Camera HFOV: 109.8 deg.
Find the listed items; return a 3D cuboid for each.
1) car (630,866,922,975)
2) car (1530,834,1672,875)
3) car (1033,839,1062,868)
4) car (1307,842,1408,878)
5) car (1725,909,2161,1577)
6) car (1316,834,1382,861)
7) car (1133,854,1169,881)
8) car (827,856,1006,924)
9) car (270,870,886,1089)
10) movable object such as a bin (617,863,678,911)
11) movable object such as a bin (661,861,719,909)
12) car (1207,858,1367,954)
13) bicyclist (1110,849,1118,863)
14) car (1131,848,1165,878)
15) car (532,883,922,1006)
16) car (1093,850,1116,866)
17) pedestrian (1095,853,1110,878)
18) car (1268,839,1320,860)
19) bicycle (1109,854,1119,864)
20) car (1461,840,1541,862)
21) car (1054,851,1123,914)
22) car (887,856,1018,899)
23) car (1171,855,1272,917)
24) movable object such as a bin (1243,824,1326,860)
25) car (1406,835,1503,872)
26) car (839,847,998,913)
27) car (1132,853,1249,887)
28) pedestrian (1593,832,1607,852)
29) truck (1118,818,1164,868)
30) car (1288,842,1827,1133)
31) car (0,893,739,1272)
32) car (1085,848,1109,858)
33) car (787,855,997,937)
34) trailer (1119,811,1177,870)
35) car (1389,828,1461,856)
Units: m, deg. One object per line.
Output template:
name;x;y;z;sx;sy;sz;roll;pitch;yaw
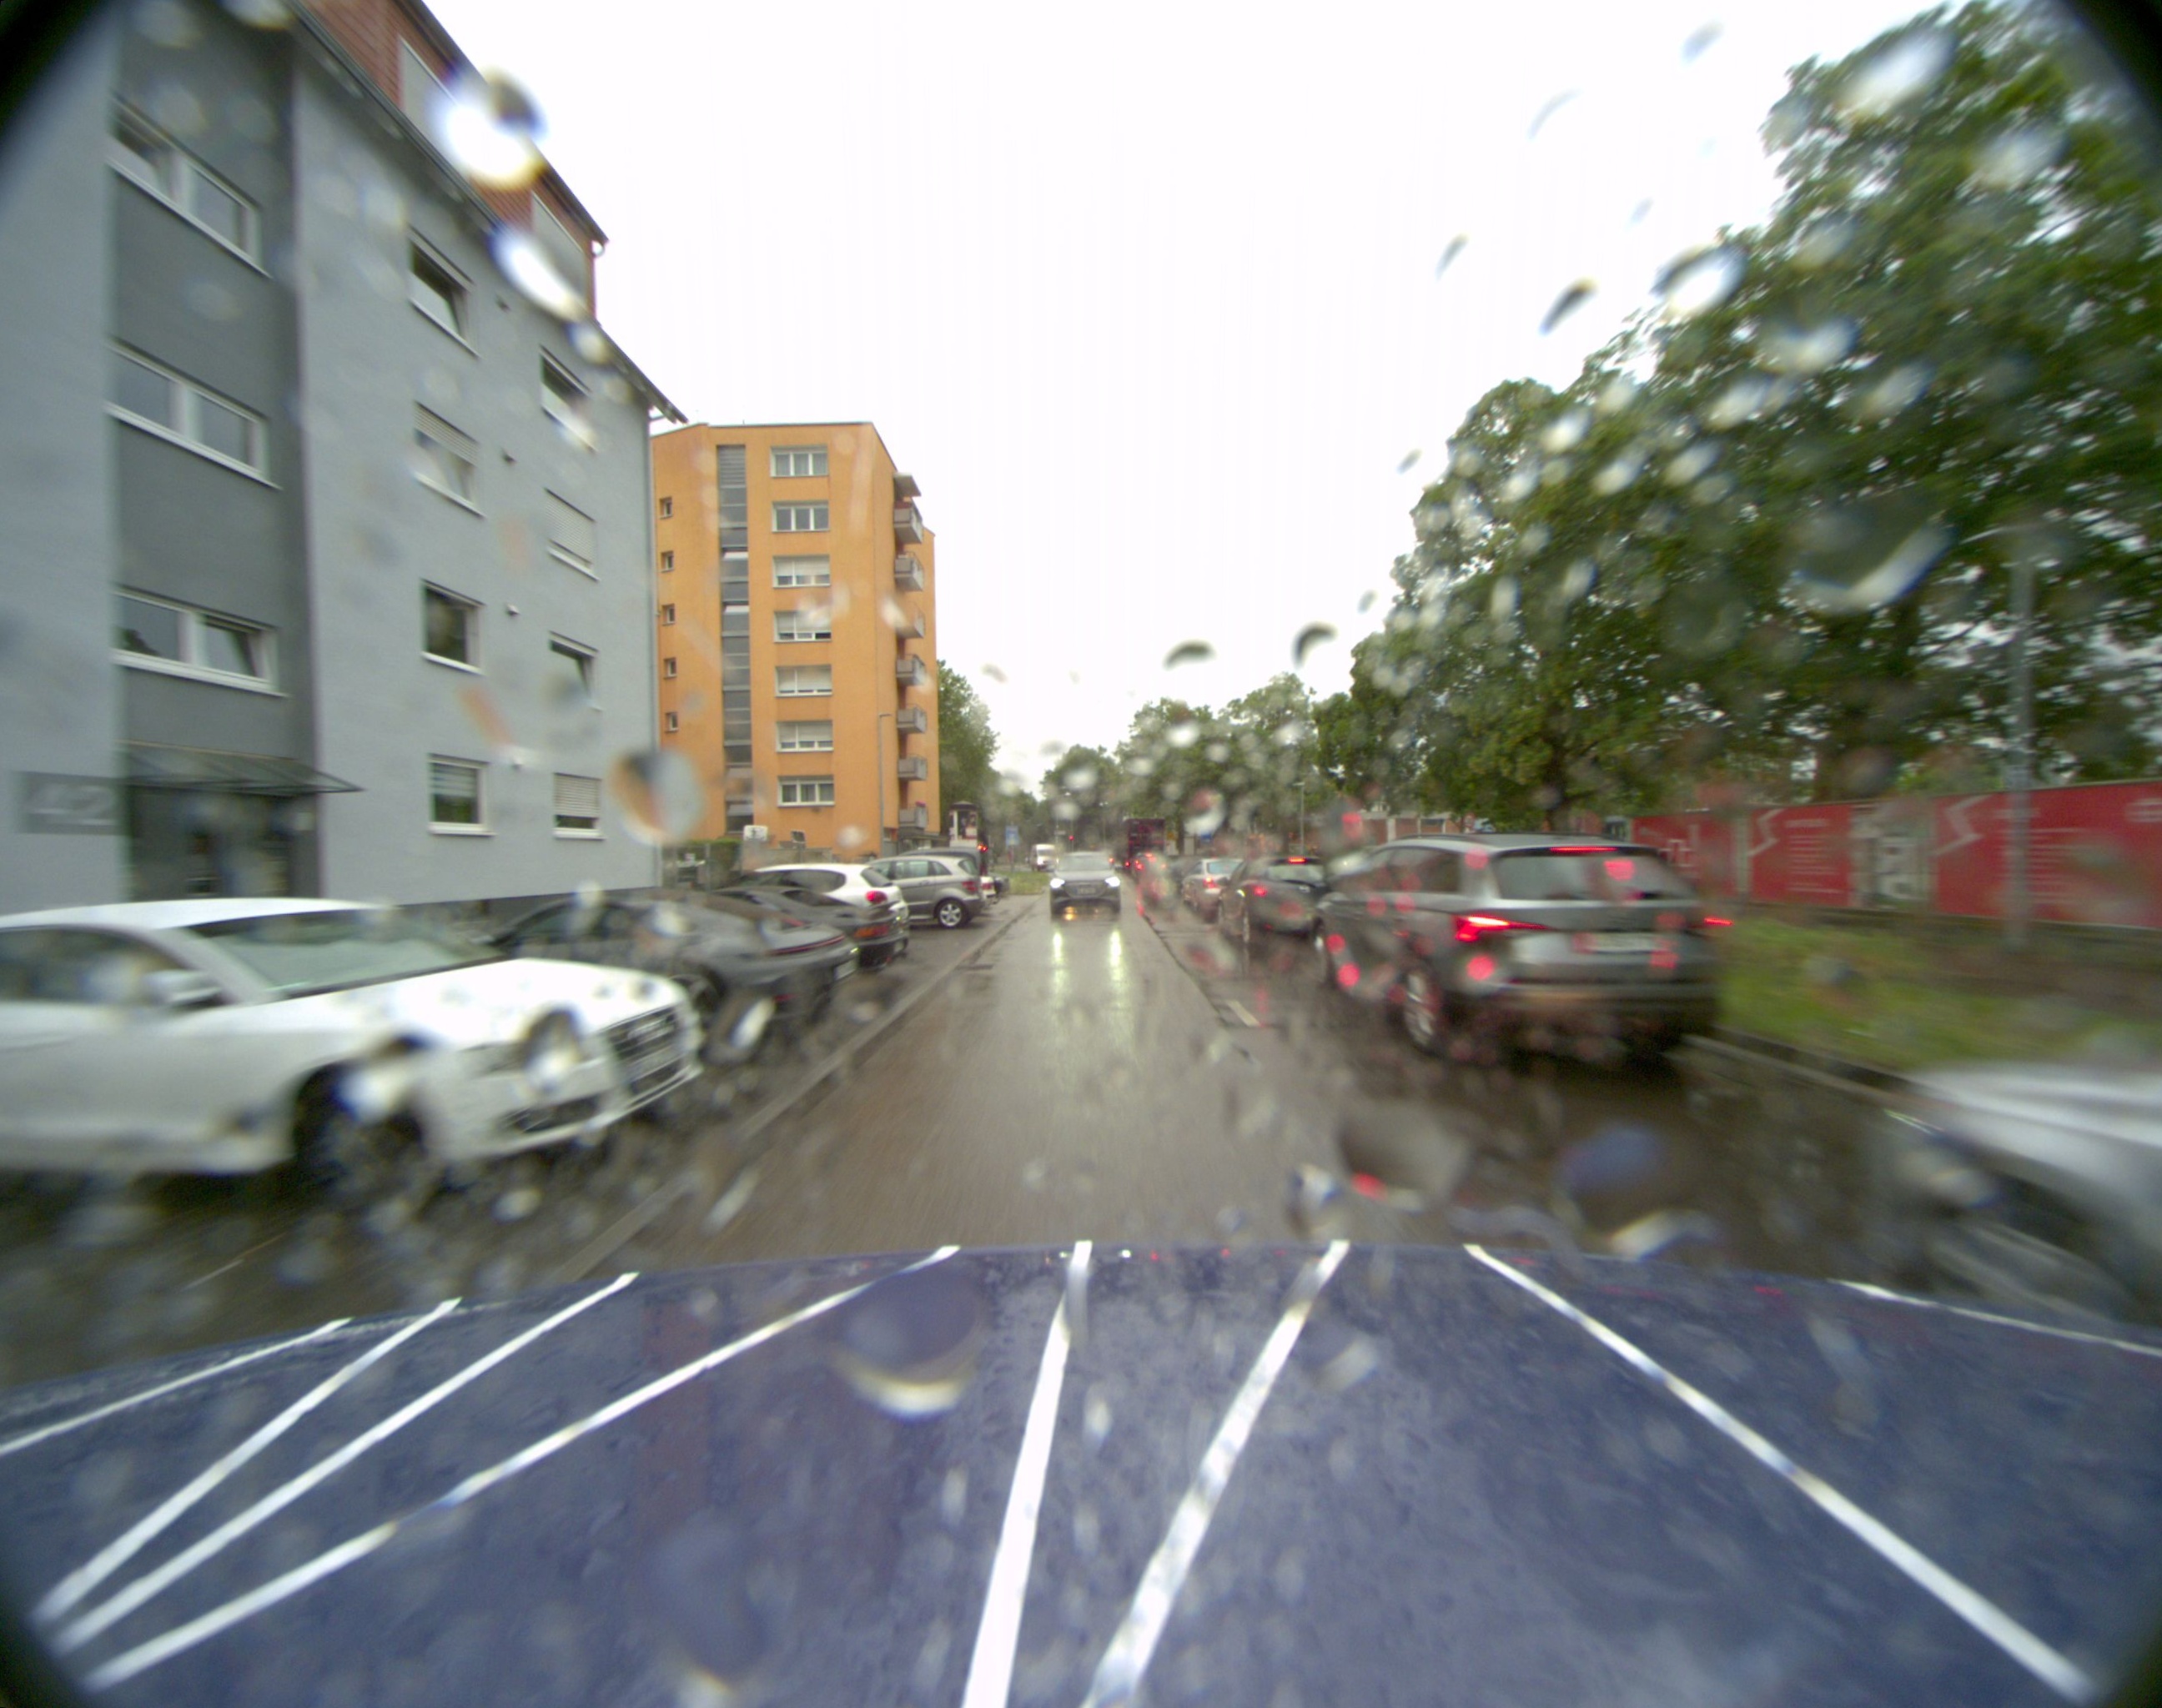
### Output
car;-4.661;0.989;12.078;3.864;1.446;1.836;-2;1;-1
car;20.384;0.040;29.984;1.792;1.500;4.290;-1;-1;-29
car;-3.255;-0.051;73.271;2.284;2.547;6.507;-2;0;-7
car;12.757;0.242;35.024;4.346;1.387;2.008;-3;1;-29
car;3.174;0.919;0.767;1.676;1.375;4.253;-1;0;4
car;18.736;-0.417;53.284;2.003;1.780;3.990;-1;0;-30
car;3.714;0.684;40.943;1.730;1.353;4.338;-1;0;3
car;-4.146;0.885;19.679;4.200;1.559;1.888;-1;1;-1
car;-4.141;0.998;6.866;4.154;1.477;2.012;-2;1;1
movable object such as a bin;-12.943;0.988;22.725;1.218;1.369;0.955;-2;0;8
movable object such as a bin;-11.625;0.907;22.628;1.237;1.369;0.823;-2;0;8
car;3.477;0.799;13.647;1.783;1.412;4.265;-1;0;1
bicyclist;3.433;0.178;79.951;0.581;1.452;1.010;-1;1;-12
car;4.159;0.506;47.723;1.872;1.610;4.801;-1;2;2
car;-4.152;1.050;9.408;3.863;1.200;1.956;-2;0;3
car;2.103;0.365;67.923;1.703;1.365;4.099;-2;0;-2
pedestrian;1.653;0.882;58.446;0.870;1.833;0.993;-1;1;14
car;17.820;-0.371;63.809;3.994;1.591;2.002;-2;-1;9
bicycle;3.437;0.501;79.915;0.533;1.018;1.872;-1;0;-12
car;27.378;-0.193;49.661;1.626;1.371;4.299;-1;0;-30
car;0.252;0.757;22.238;1.809;1.611;4.137;-1;1;2
car;-4.774;0.863;28.689;4.544;1.462;1.983;-1;1;1
car;3.666;0.771;20.734;1.779;1.395;4.829;-2;1;-1
movable object such as a bin;17.747;-1.009;66.704;6.767;2.913;2.777;-2;0;11
car;18.859;-0.030;38.342;4.655;1.697;2.041;-2;1;-29
car;-4.642;0.709;22.236;4.243;1.795;1.944;-1;1;-2
car;5.049;0.732;35.228;4.915;1.445;2.090;-1;0;33
pedestrian;44.519;-1.059;65.188;0.781;1.674;0.676;-1;1;-29
truck;5.181;-0.940;67.085;3.458;4.054;6.974;-2;0;1
car;3.406;0.755;6.802;1.918;1.630;4.822;-2;1;2
car;-4.717;1.075;4.256;4.638;1.428;2.000;-2;1;3
car;3.125;-0.135;147.336;4.668;1.863;2.034;-1;0;2
car;-4.113;0.893;17.065;4.192;1.562;1.890;-2;1;0
trailer;5.023;-0.946;60.087;3.450;4.025;15.051;-1;0;1
car;26.370;-0.883;58.422;2.003;2.002;4.665;-2;0;-34
